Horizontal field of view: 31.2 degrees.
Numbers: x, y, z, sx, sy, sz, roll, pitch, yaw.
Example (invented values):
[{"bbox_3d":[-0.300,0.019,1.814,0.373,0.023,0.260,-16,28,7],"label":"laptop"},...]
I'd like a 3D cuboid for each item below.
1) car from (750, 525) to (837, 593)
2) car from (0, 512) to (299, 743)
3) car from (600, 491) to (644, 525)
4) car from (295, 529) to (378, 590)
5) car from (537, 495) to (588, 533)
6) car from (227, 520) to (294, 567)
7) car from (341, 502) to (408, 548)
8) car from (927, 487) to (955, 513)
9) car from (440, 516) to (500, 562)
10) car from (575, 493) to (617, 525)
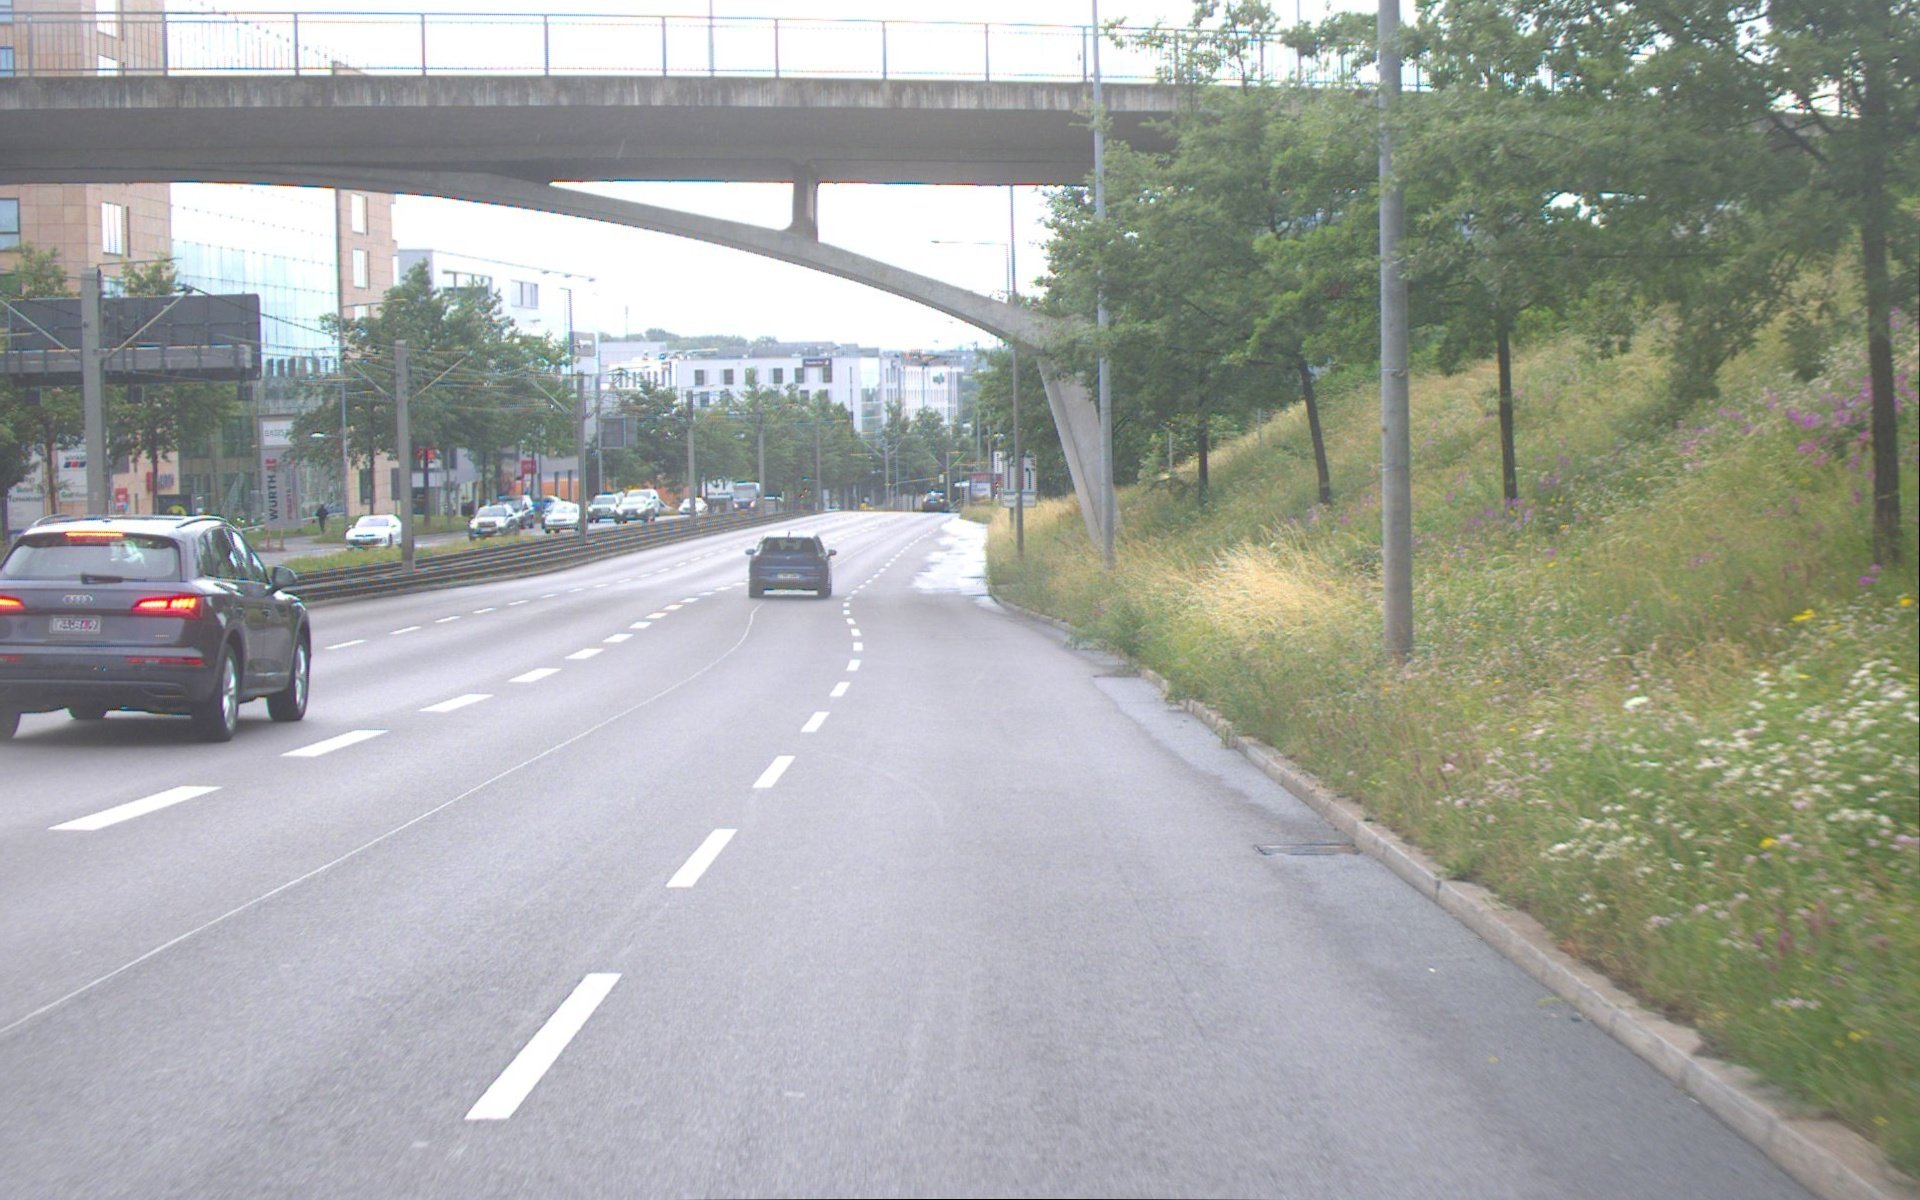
[{"bbox_3d":[-3.675,-0.933,76.344,1.749,1.415,3.479,0,2,0],"label":"car"},{"bbox_3d":[-6.324,0.133,26.443,1.751,1.612,4.749,0,1,-3],"label":"car"},{"bbox_3d":[-19.363,-5.295,197.249,1.993,1.729,4.249,1,4,1],"label":"car"},{"bbox_3d":[-19.656,-1.295,108.529,1.993,1.700,4.001,1,4,-2],"label":"car"},{"bbox_3d":[-20.222,-4.385,174.856,1.993,1.729,4.249,1,4,1],"label":"car"},{"bbox_3d":[-30.683,-2.479,150.880,1.993,2.007,4.000,0,1,1],"label":"car"},{"bbox_3d":[-24.717,-3.169,145.208,1.993,1.729,4.249,1,4,1],"label":"car"},{"bbox_3d":[-1.441,-7.590,260.448,1.862,1.743,4.001,1,4,-4],"label":"car"},{"bbox_3d":[-21.651,-2.704,152.011,1.993,2.007,4.000,0,1,1],"label":"car"},{"bbox_3d":[-22.176,-5.544,209.291,1.993,1.729,4.249,1,4,1],"label":"car"}]
